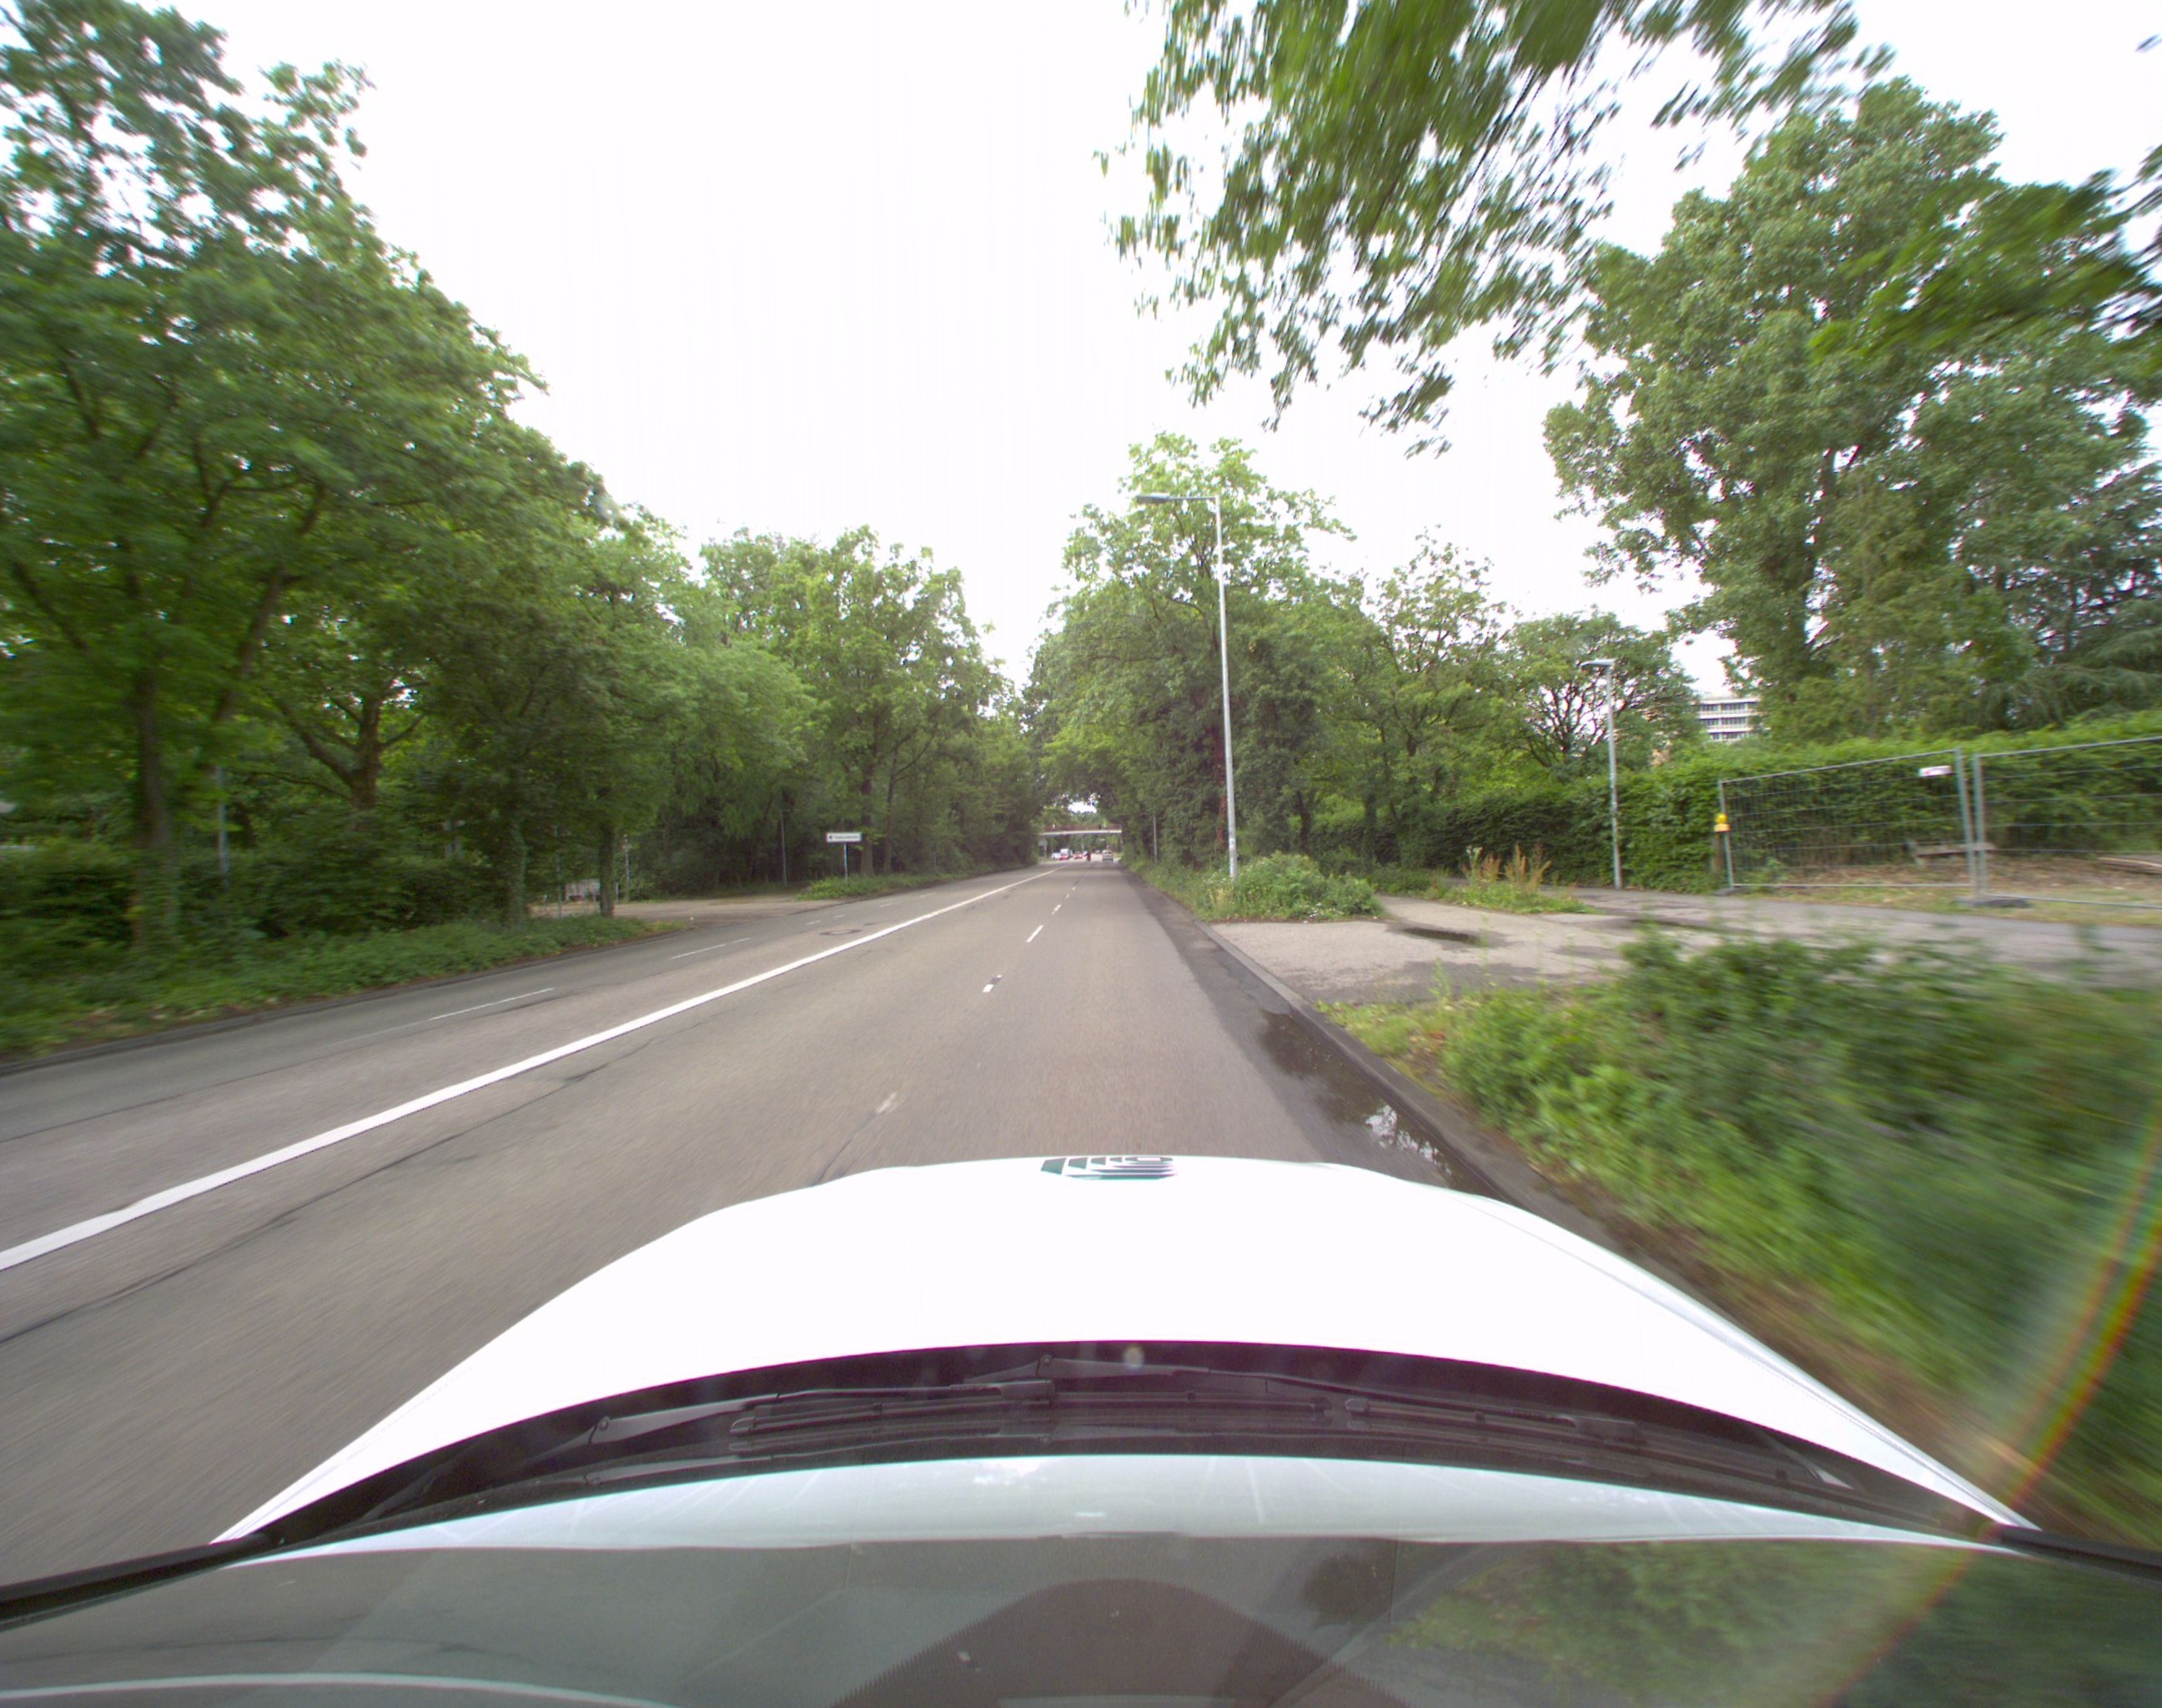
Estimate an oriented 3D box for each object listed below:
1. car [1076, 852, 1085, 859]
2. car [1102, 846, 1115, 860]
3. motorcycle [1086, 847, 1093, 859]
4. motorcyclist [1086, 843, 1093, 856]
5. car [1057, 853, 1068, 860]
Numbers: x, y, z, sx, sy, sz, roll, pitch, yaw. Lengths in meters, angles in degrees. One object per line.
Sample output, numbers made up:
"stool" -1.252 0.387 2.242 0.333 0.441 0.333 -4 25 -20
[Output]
"car" -0.102 0.351 169.782 1.667 1.362 3.926 -1 0 4
"car" 4.082 -0.169 122.533 1.836 2.013 4.002 -1 0 2
"motorcycle" 1.364 -0.155 126.321 0.986 1.936 2.670 -1 0 2
"motorcyclist" 1.329 -0.749 126.180 1.059 2.013 0.843 -1 0 1
"car" -3.801 0.457 169.224 1.984 1.354 3.899 -1 0 4
